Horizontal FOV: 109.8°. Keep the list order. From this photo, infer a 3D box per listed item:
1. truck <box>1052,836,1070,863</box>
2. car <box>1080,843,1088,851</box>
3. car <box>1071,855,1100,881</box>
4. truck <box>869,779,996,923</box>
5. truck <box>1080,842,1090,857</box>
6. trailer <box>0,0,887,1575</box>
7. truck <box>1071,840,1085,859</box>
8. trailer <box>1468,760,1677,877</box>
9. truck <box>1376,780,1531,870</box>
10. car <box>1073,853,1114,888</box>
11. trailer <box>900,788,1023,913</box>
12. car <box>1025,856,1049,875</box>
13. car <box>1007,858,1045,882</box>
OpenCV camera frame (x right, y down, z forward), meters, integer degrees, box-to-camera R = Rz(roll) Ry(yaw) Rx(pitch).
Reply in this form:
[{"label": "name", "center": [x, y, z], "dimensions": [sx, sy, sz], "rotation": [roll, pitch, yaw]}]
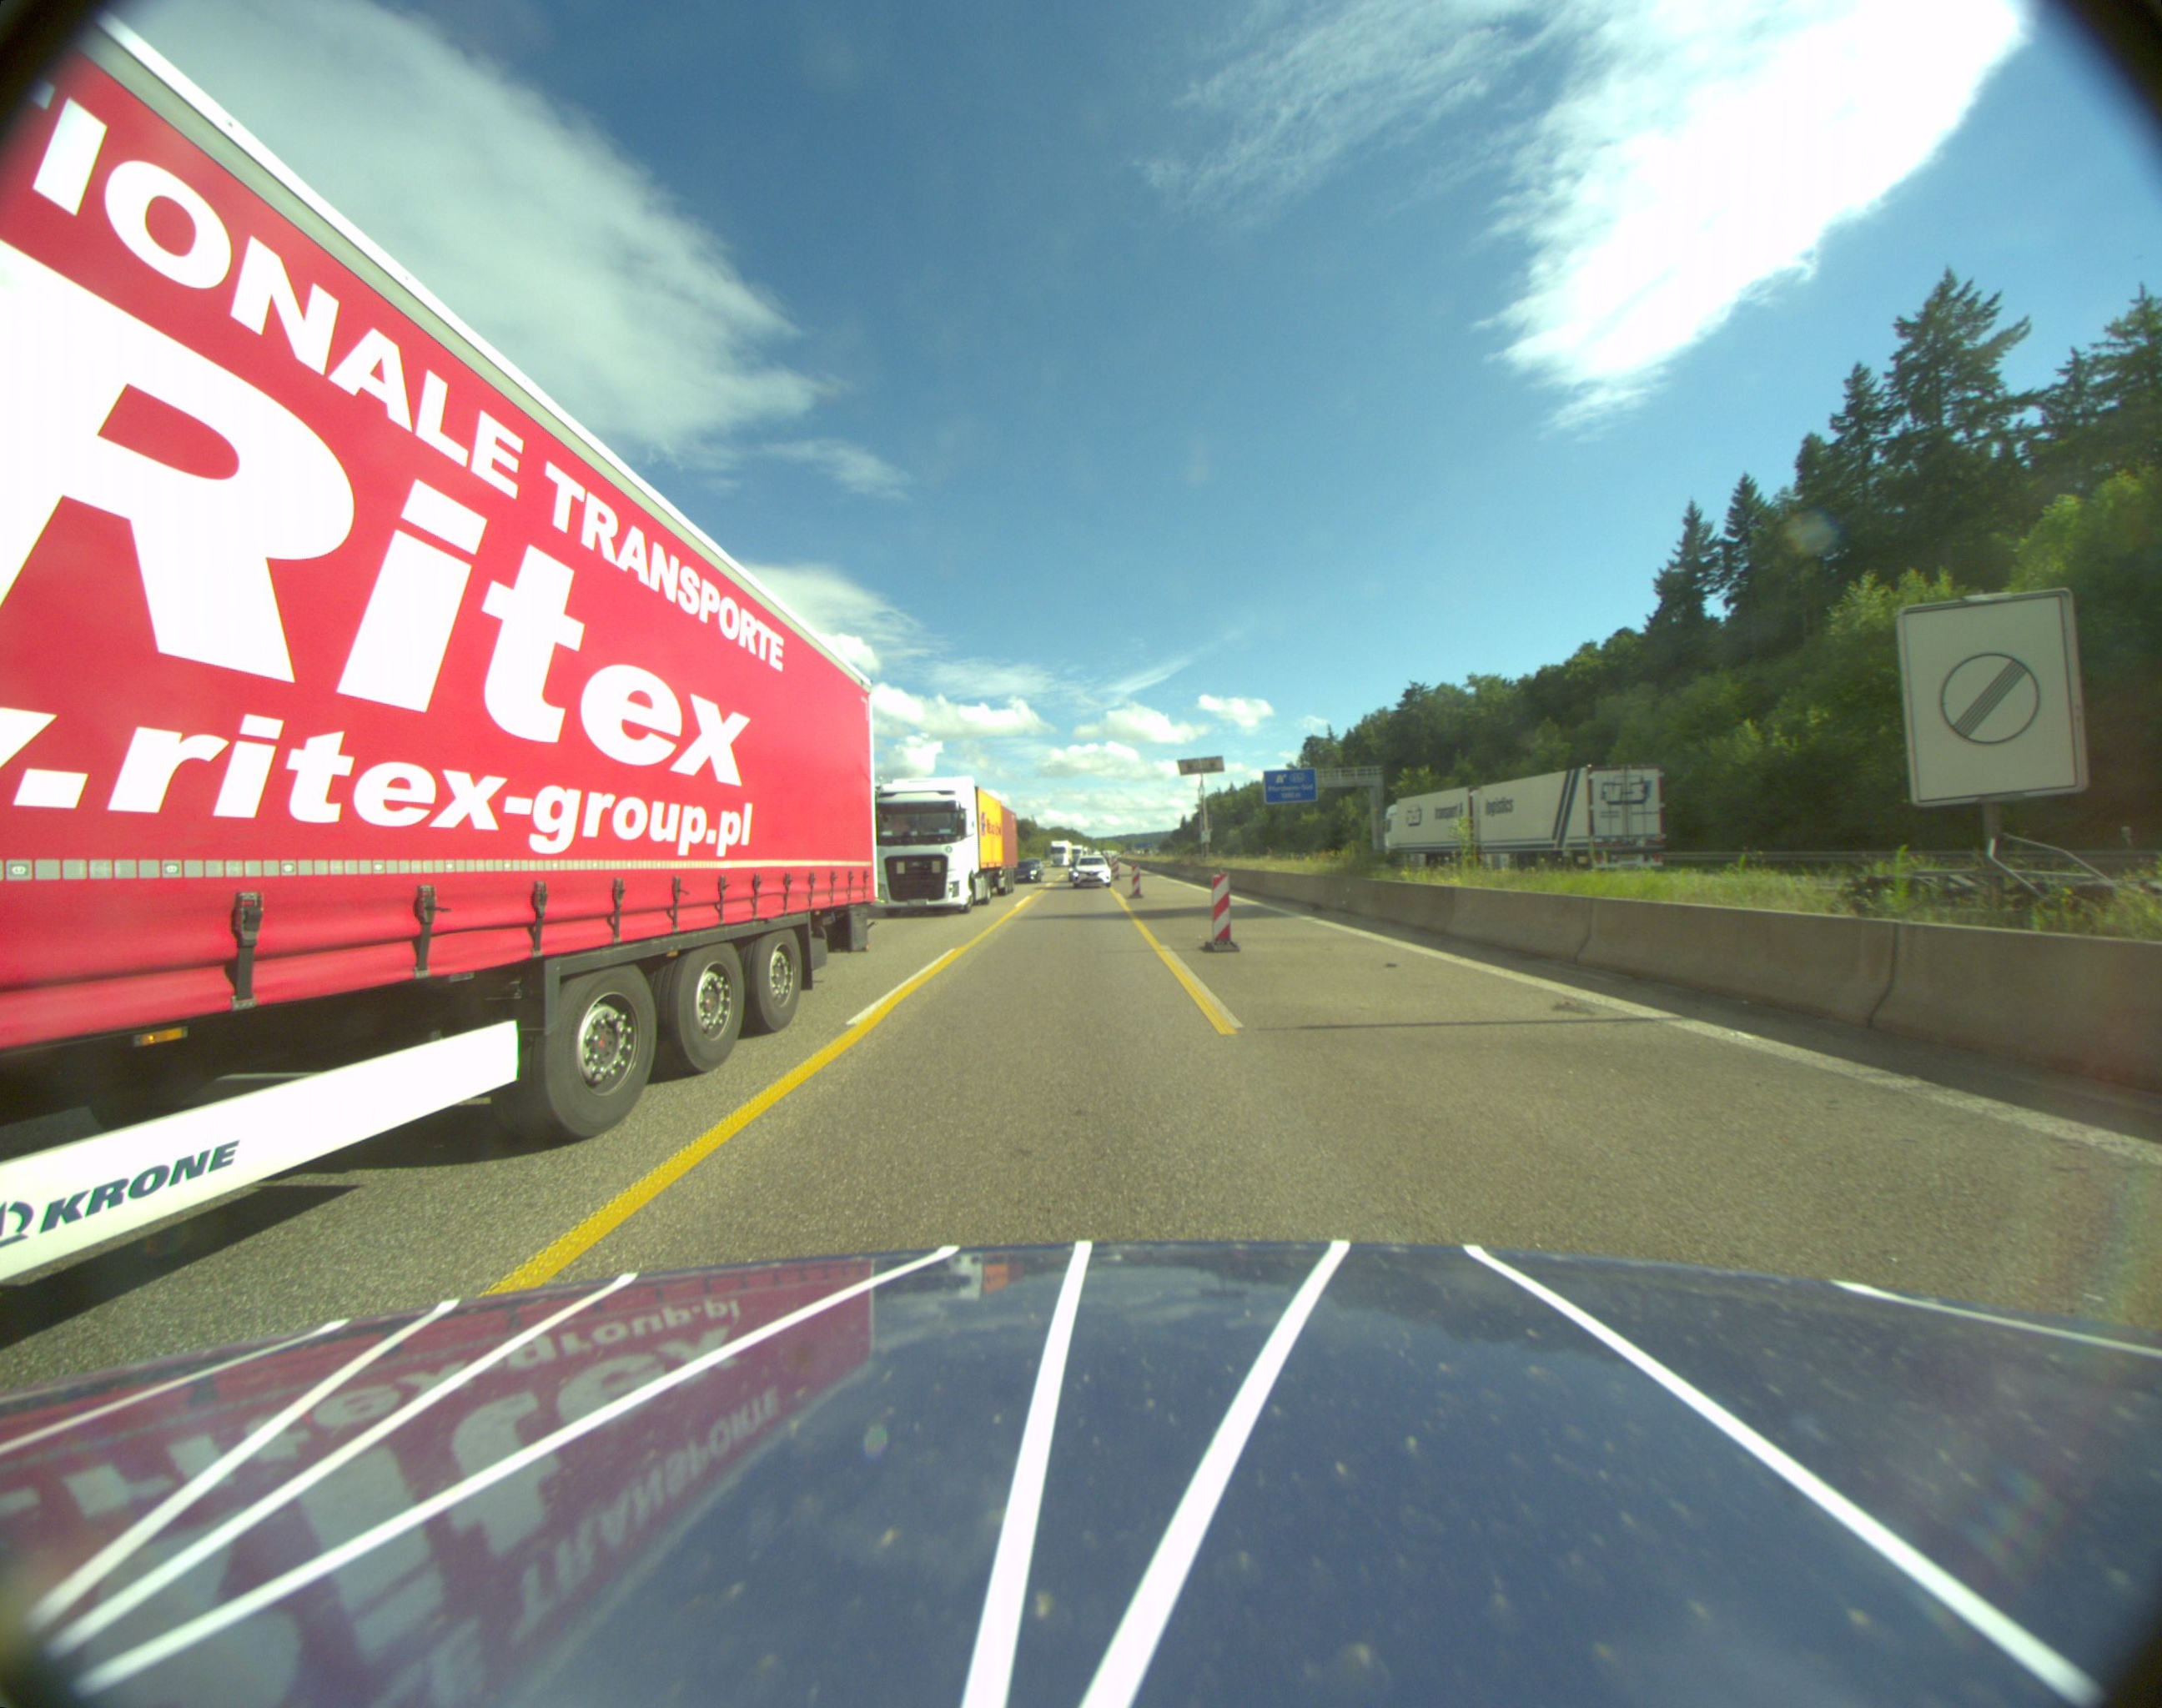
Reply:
[{"label": "truck", "center": [-3.172, -0.730, 120.345], "dimensions": [2.641, 4.092, 8.194], "rotation": [-2, 0, -1]}, {"label": "car", "center": [0.905, -2.039, 215.967], "dimensions": [1.998, 2.188, 3.999], "rotation": [-2, 1, 1]}, {"label": "car", "center": [0.304, 0.854, 47.893], "dimensions": [1.692, 1.471, 3.754], "rotation": [-2, 1, 1]}, {"label": "truck", "center": [-4.282, -0.091, 23.196], "dimensions": [2.501, 3.759, 5.789], "rotation": [-2, 1, 1]}, {"label": "truck", "center": [1.123, -1.265, 213.881], "dimensions": [2.641, 4.092, 8.195], "rotation": [-3, 0, 0]}, {"label": "trailer", "center": [-4.027, -0.201, 3.464], "dimensions": [2.707, 3.946, 13.415], "rotation": [-2, 0, 0]}, {"label": "truck", "center": [-0.705, -1.065, 178.243], "dimensions": [2.640, 4.092, 8.196], "rotation": [-2, 0, 3]}, {"label": "trailer", "center": [19.071, -1.265, 30.353], "dimensions": [2.798, 3.901, 8.487], "rotation": [-2, 1, 0]}, {"label": "truck", "center": [19.103, -1.382, 40.074], "dimensions": [2.789, 3.962, 10.860], "rotation": [-2, 1, 0]}, {"label": "car", "center": [0.574, 0.779, 37.310], "dimensions": [1.840, 1.528, 3.882], "rotation": [-2, 1, -1]}, {"label": "trailer", "center": [-4.173, -0.135, 29.619], "dimensions": [2.477, 3.753, 12.135], "rotation": [-2, 0, 1]}, {"label": "car", "center": [-3.810, 0.974, 66.642], "dimensions": [1.762, 1.471, 3.967], "rotation": [-2, 1, 1]}, {"label": "car", "center": [-3.392, 0.973, 47.381], "dimensions": [1.933, 1.342, 4.477], "rotation": [-2, 0, 1]}]
